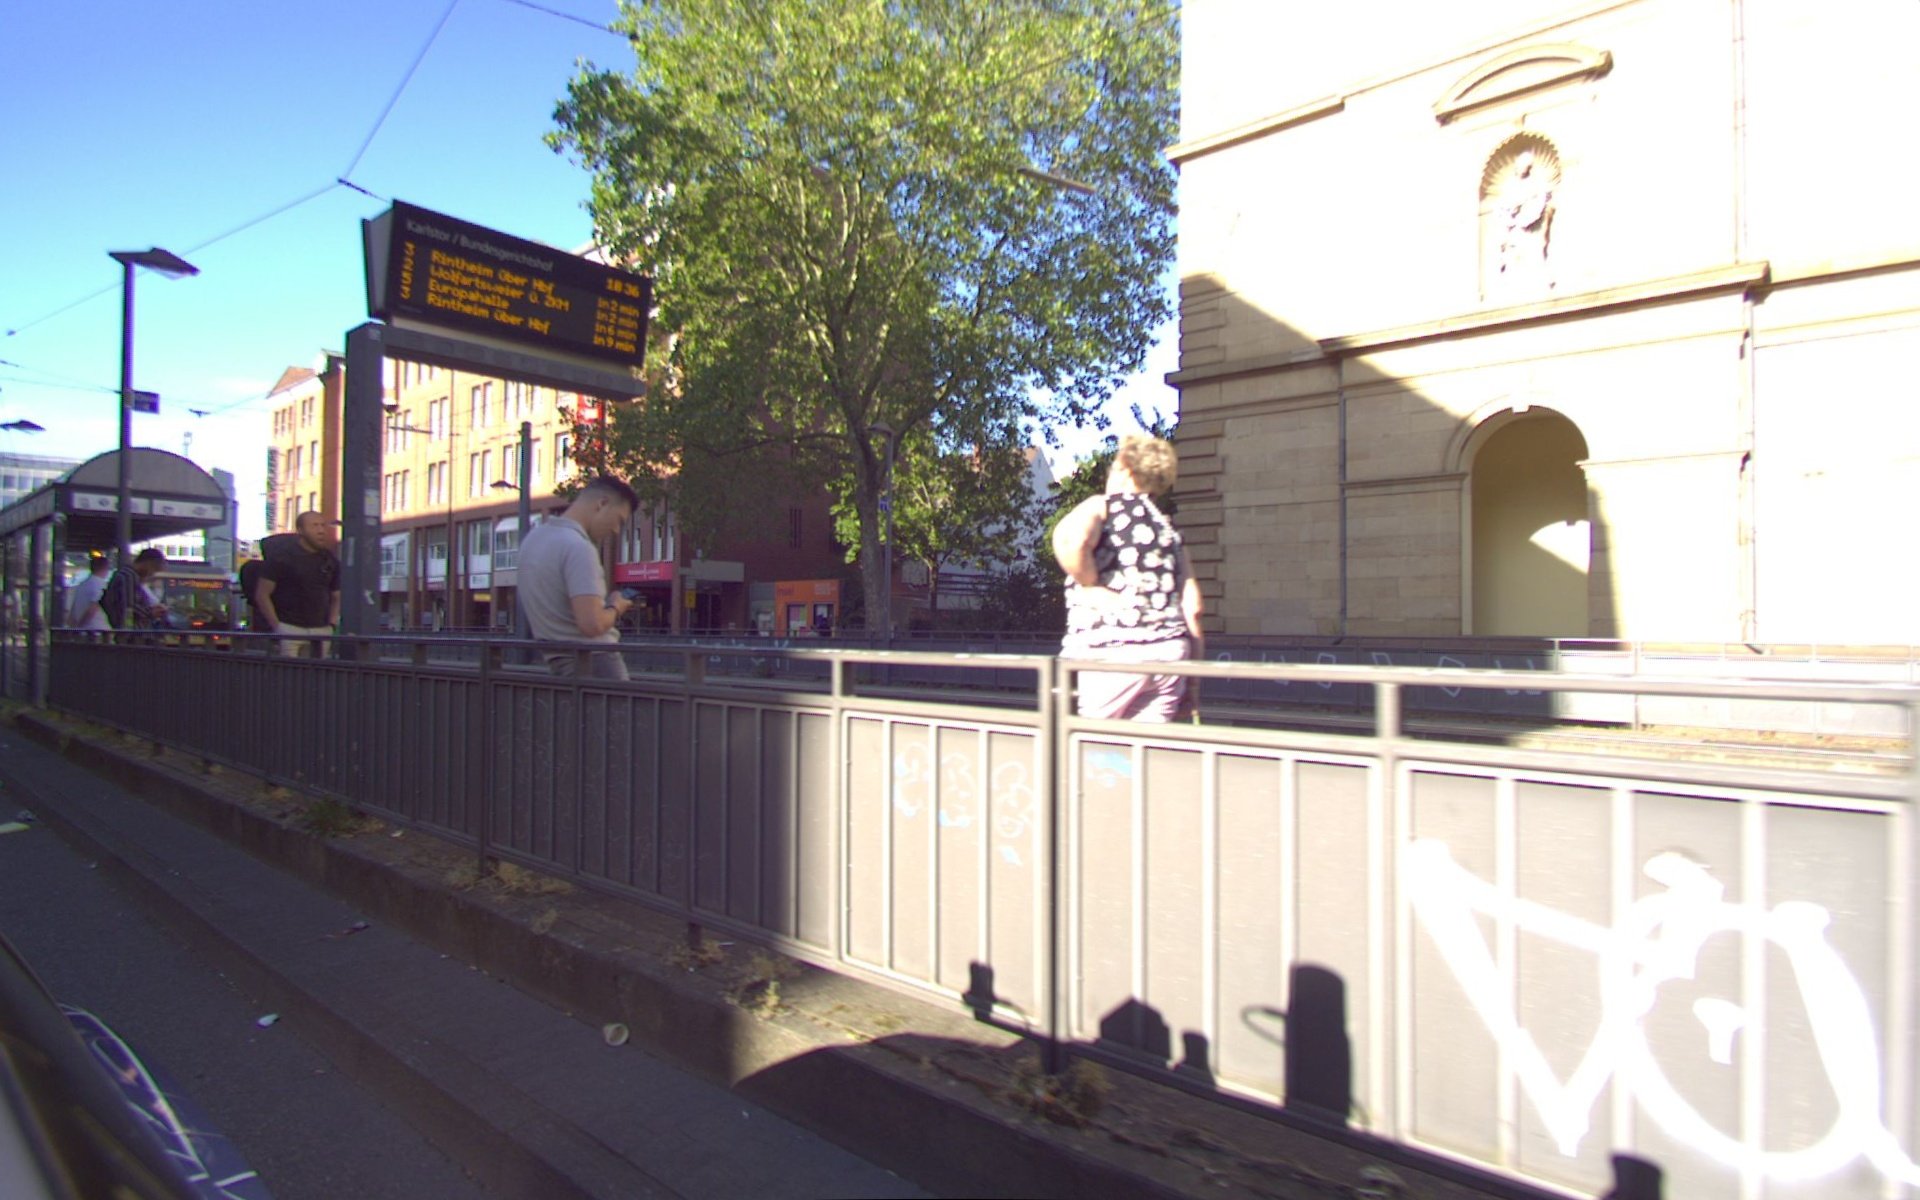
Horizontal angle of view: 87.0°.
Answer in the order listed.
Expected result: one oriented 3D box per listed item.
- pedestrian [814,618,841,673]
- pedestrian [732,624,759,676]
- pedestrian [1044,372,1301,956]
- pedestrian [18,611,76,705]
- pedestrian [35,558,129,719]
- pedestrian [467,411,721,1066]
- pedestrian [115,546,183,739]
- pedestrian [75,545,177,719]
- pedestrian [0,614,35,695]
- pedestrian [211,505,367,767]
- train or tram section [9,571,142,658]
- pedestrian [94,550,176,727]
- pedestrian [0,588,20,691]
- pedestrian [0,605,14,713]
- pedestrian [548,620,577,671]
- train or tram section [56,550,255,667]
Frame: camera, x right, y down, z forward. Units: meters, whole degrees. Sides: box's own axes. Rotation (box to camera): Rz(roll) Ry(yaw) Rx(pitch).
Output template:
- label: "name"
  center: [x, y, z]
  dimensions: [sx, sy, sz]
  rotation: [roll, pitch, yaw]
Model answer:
- label: "pedestrian"
  center: [-4.588, 1.563, 35.089]
  dimensions: [0.626, 1.896, 0.698]
  rotation: [-2, -2, 44]
- label: "pedestrian"
  center: [-7.575, 1.761, 35.725]
  dimensions: [0.647, 1.819, 0.680]
  rotation: [-1, -2, 38]
- label: "pedestrian"
  center: [0.662, 0.192, 3.361]
  dimensions: [0.756, 1.748, 0.589]
  rotation: [0, -2, 5]
- label: "pedestrian"
  center: [-12.623, 0.787, 13.994]
  dimensions: [0.460, 1.262, 0.535]
  rotation: [-1, -1, 39]
- label: "pedestrian"
  center: [-10.164, 0.438, 11.718]
  dimensions: [0.747, 1.778, 0.683]
  rotation: [-1, -2, 39]
- label: "pedestrian"
  center: [-1.370, 0.457, 3.782]
  dimensions: [0.807, 2.136, 0.532]
  rotation: [-1, -2, 40]
- label: "pedestrian"
  center: [-7.282, 0.375, 9.090]
  dimensions: [0.528, 1.682, 0.348]
  rotation: [-1, -2, 39]
- label: "pedestrian"
  center: [-8.920, 0.337, 10.825]
  dimensions: [0.747, 1.765, 0.683]
  rotation: [-1, -2, 39]
- label: "pedestrian"
  center: [-13.796, 0.783, 14.775]
  dimensions: [0.460, 1.161, 0.362]
  rotation: [-1, -1, 40]
- label: "pedestrian"
  center: [-5.083, 0.254, 7.674]
  dimensions: [0.803, 1.845, 0.763]
  rotation: [0, 0, 37]
- label: "train or tram section"
  center: [-42.531, 0.724, 48.414]
  dimensions: [13.936, 3.672, 2.943]
  rotation: [-1, -1, 41]
- label: "pedestrian"
  center: [-8.059, 0.372, 9.885]
  dimensions: [0.589, 1.661, 0.488]
  rotation: [-1, -2, 39]
- label: "pedestrian"
  center: [-15.100, 0.615, 15.881]
  dimensions: [0.592, 1.585, 0.420]
  rotation: [-1, -2, 41]
- label: "pedestrian"
  center: [-14.388, 0.875, 15.101]
  dimensions: [0.316, 1.584, 0.544]
  rotation: [0, -1, -35]
- label: "pedestrian"
  center: [-15.182, 1.733, 38.666]
  dimensions: [0.665, 1.931, 0.781]
  rotation: [-1, -2, 39]
- label: "train or tram section"
  center: [-30.918, 0.477, 38.352]
  dimensions: [16.475, 3.672, 2.943]
  rotation: [-2, -1, 41]
